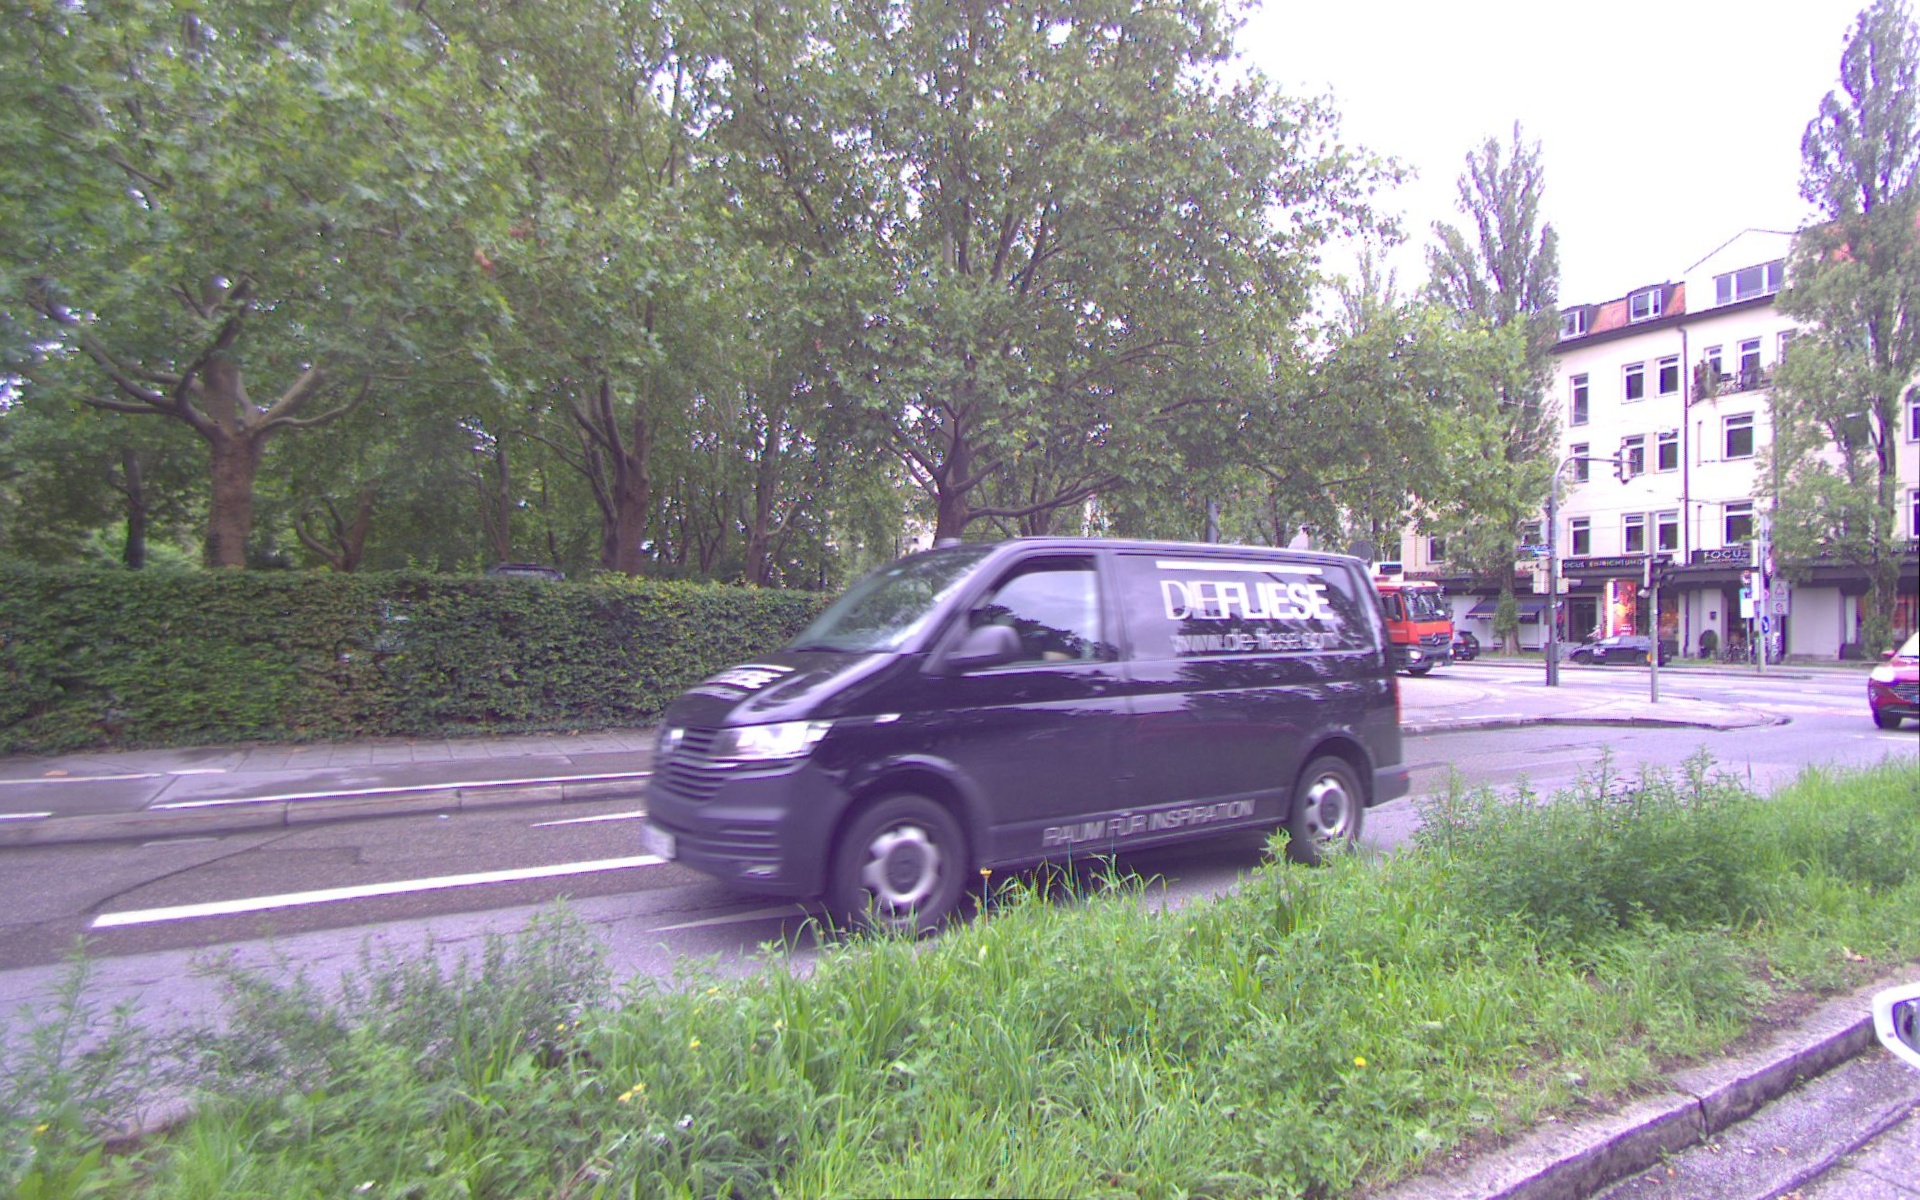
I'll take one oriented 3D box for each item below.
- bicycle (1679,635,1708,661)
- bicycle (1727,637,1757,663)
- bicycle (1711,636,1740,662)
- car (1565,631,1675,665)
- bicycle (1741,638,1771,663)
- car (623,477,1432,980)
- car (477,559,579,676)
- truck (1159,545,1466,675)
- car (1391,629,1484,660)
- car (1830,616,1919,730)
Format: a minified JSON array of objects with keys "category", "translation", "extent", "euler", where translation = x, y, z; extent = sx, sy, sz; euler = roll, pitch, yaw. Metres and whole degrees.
[{"category":"bicycle","translation":[35.195,2.301,48.215],"extent":[1.869,1.200,0.492],"euler":[1,-2,-33]},{"category":"bicycle","translation":[36.124,2.293,46.386],"extent":[1.869,1.200,0.492],"euler":[1,-2,-33]},{"category":"bicycle","translation":[35.848,2.288,47.033],"extent":[1.869,1.200,0.492],"euler":[1,-2,-33]},{"category":"car","translation":[30.955,2.240,47.234],"extent":[1.786,1.485,3.964],"euler":[2,-2,-33]},{"category":"bicycle","translation":[36.424,2.307,45.956],"extent":[1.869,1.096,0.492],"euler":[1,-2,-33]},{"category":"car","translation":[0.572,0.574,6.041],"extent":[4.651,2.017,1.848],"euler":[1,-2,-31]},{"category":"car","translation":[-10.929,0.385,25.155],"extent":[1.974,2.569,5.823],"euler":[2,0,-27]},{"category":"truck","translation":[12.239,0.442,36.781],"extent":[2.716,4.033,11.623],"euler":[0,-1,-30]},{"category":"car","translation":[26.062,2.392,55.000],"extent":[1.706,1.633,4.435],"euler":[1,-2,-30]},{"category":"car","translation":[16.230,1.084,16.148],"extent":[4.885,1.659,2.092],"euler":[0,-2,-33]}]
